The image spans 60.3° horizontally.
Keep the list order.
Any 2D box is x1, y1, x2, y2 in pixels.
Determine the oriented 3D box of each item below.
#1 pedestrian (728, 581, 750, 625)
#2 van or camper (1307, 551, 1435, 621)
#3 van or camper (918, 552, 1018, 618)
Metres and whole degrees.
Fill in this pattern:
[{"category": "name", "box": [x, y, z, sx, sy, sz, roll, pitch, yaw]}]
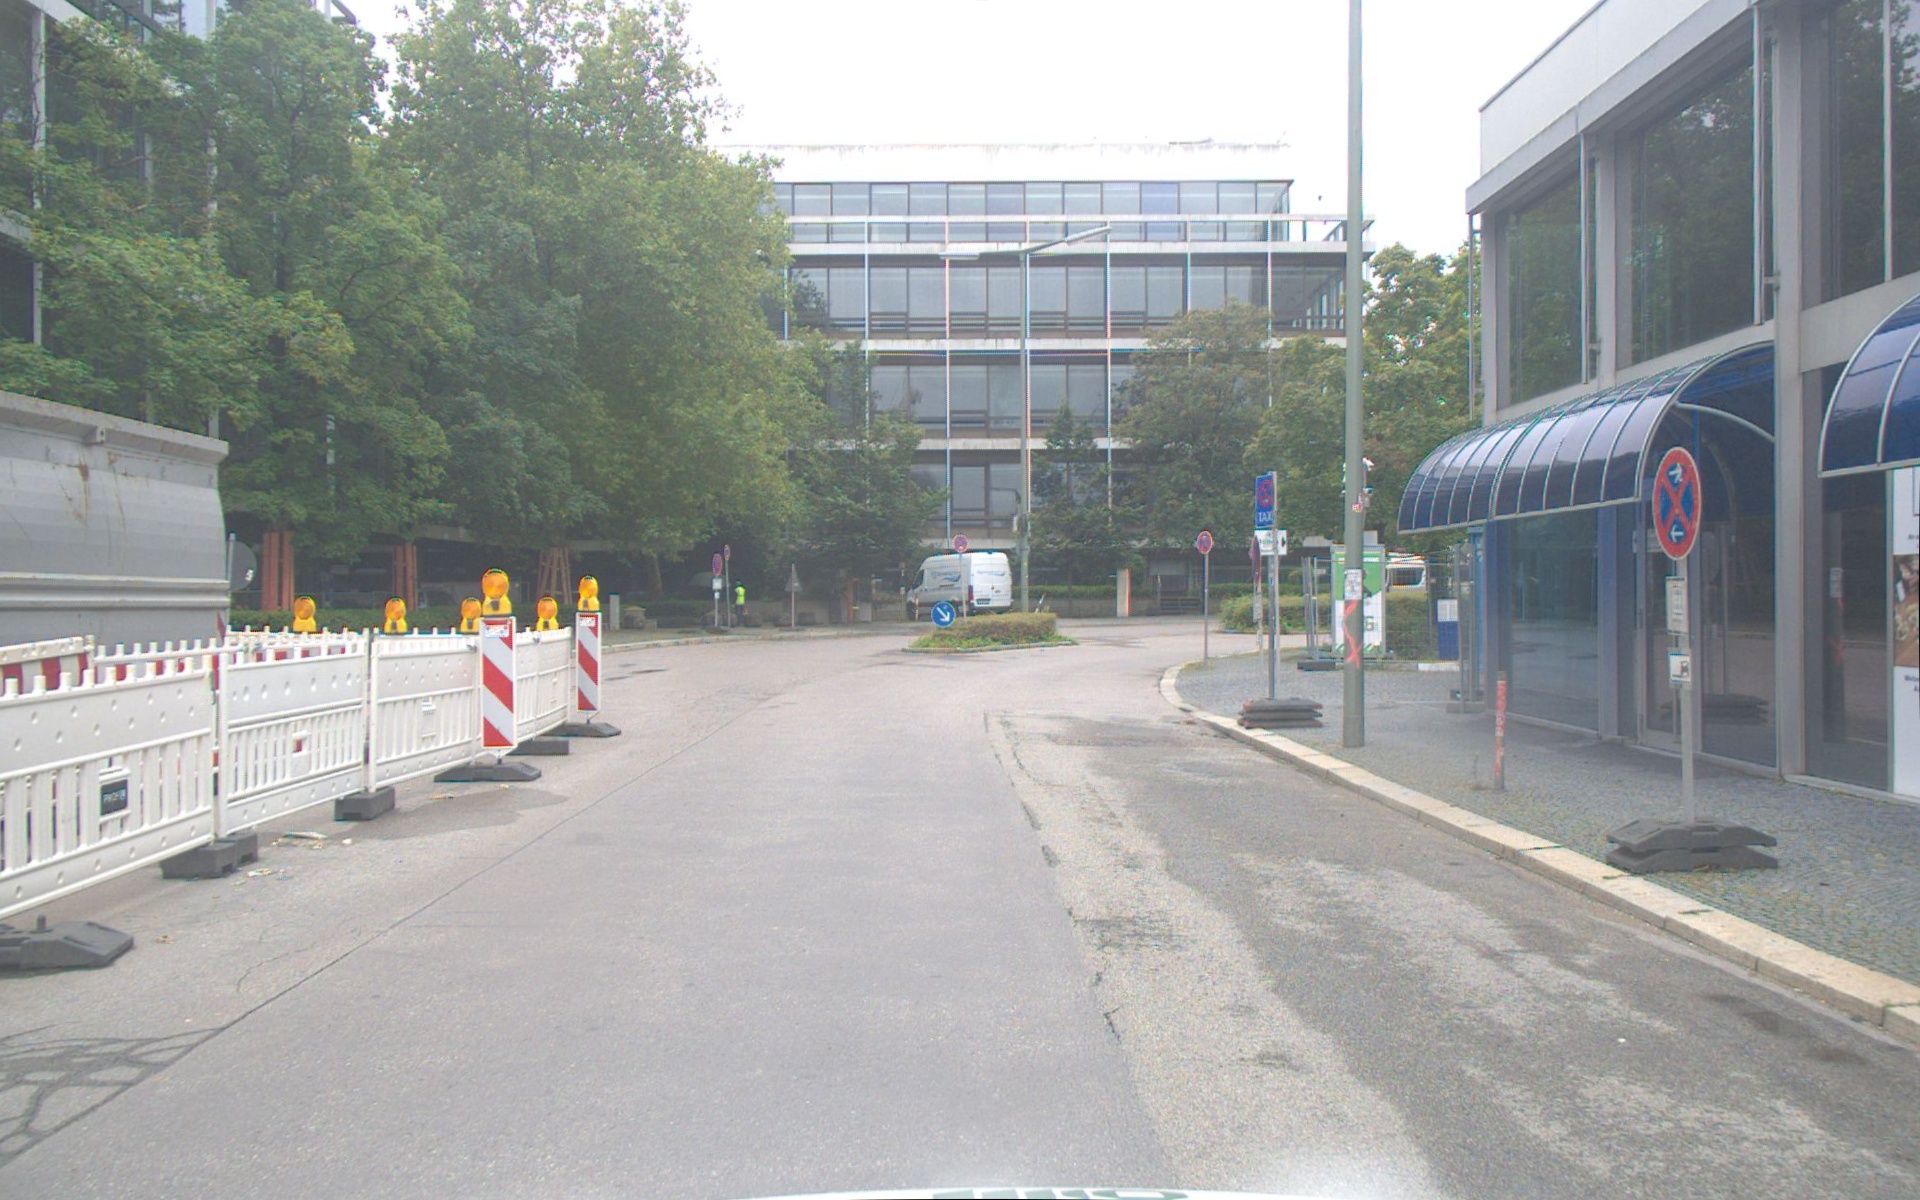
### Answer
[{"category": "pedestrian", "box": [-8.727, 0.108, 65.269, 0.730, 1.706, 0.678, -1, 0, -20]}, {"category": "van or camper", "box": [15.919, -0.556, 64.135, 4.371, 2.631, 2.103, -1, 0, -11]}, {"category": "van or camper", "box": [0.272, -0.591, 66.716, 2.060, 2.535, 5.025, -1, 0, -26]}]
